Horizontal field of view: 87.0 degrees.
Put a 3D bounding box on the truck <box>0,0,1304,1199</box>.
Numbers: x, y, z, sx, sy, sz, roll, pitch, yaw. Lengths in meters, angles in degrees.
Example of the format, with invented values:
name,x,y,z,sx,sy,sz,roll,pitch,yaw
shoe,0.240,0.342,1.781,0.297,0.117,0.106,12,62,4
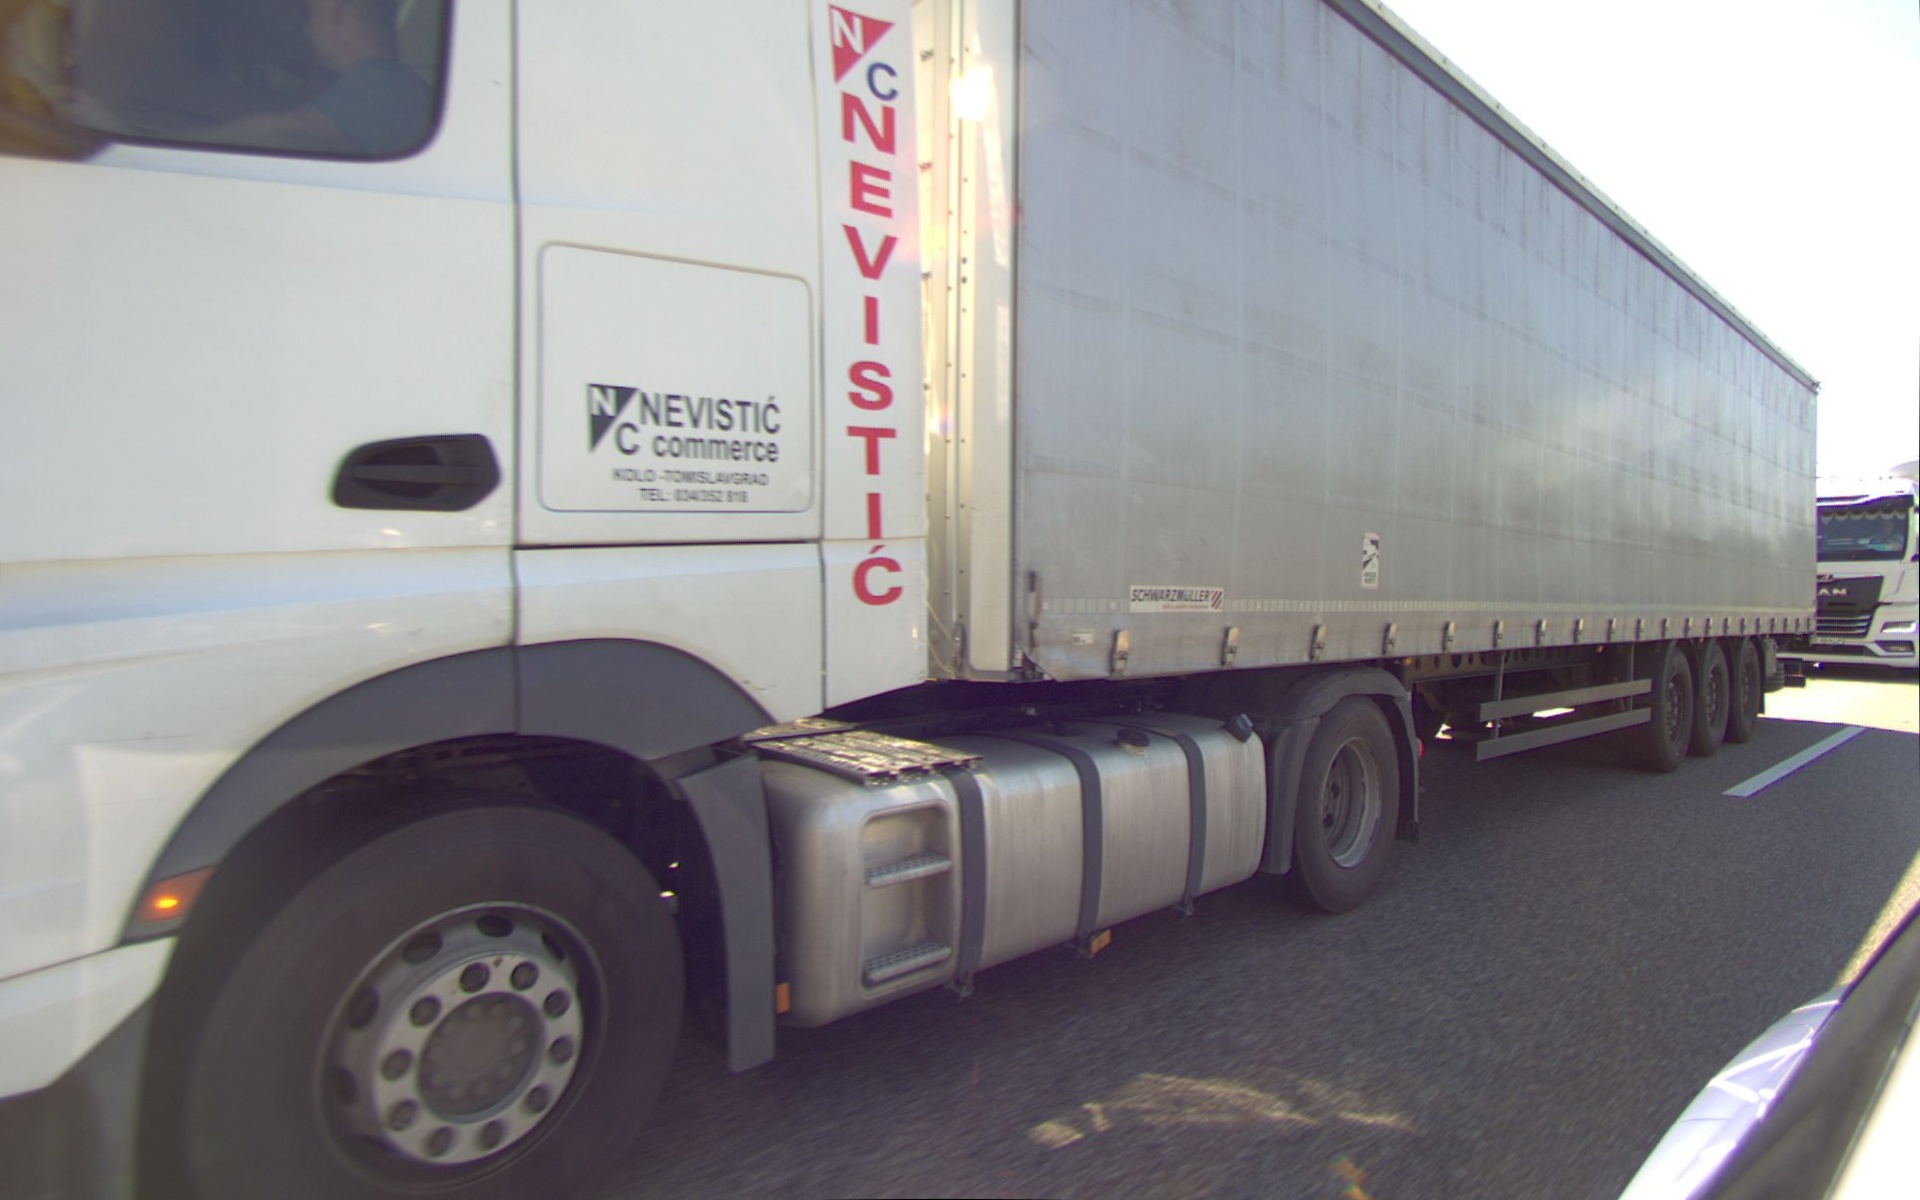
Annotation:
name,x,y,z,sx,sy,sz,roll,pitch,yaw
truck,-1.897,-0.883,2.912,6.342,4.145,2.705,-1,1,-41

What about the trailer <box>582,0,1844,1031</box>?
name,x,y,z,sx,sy,sz,roll,pitch,yaw
trailer,4.508,-1.011,8.617,14.491,4.119,2.712,-1,1,-42

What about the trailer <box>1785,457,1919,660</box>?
name,x,y,z,sx,sy,sz,roll,pitch,yaw
trailer,23.530,-0.897,24.992,12.348,4.086,2.800,-1,1,-41

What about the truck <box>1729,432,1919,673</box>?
name,x,y,z,sx,sy,sz,roll,pitch,yaw
truck,17.629,-0.849,19.873,5.914,4.057,2.805,0,1,-40
